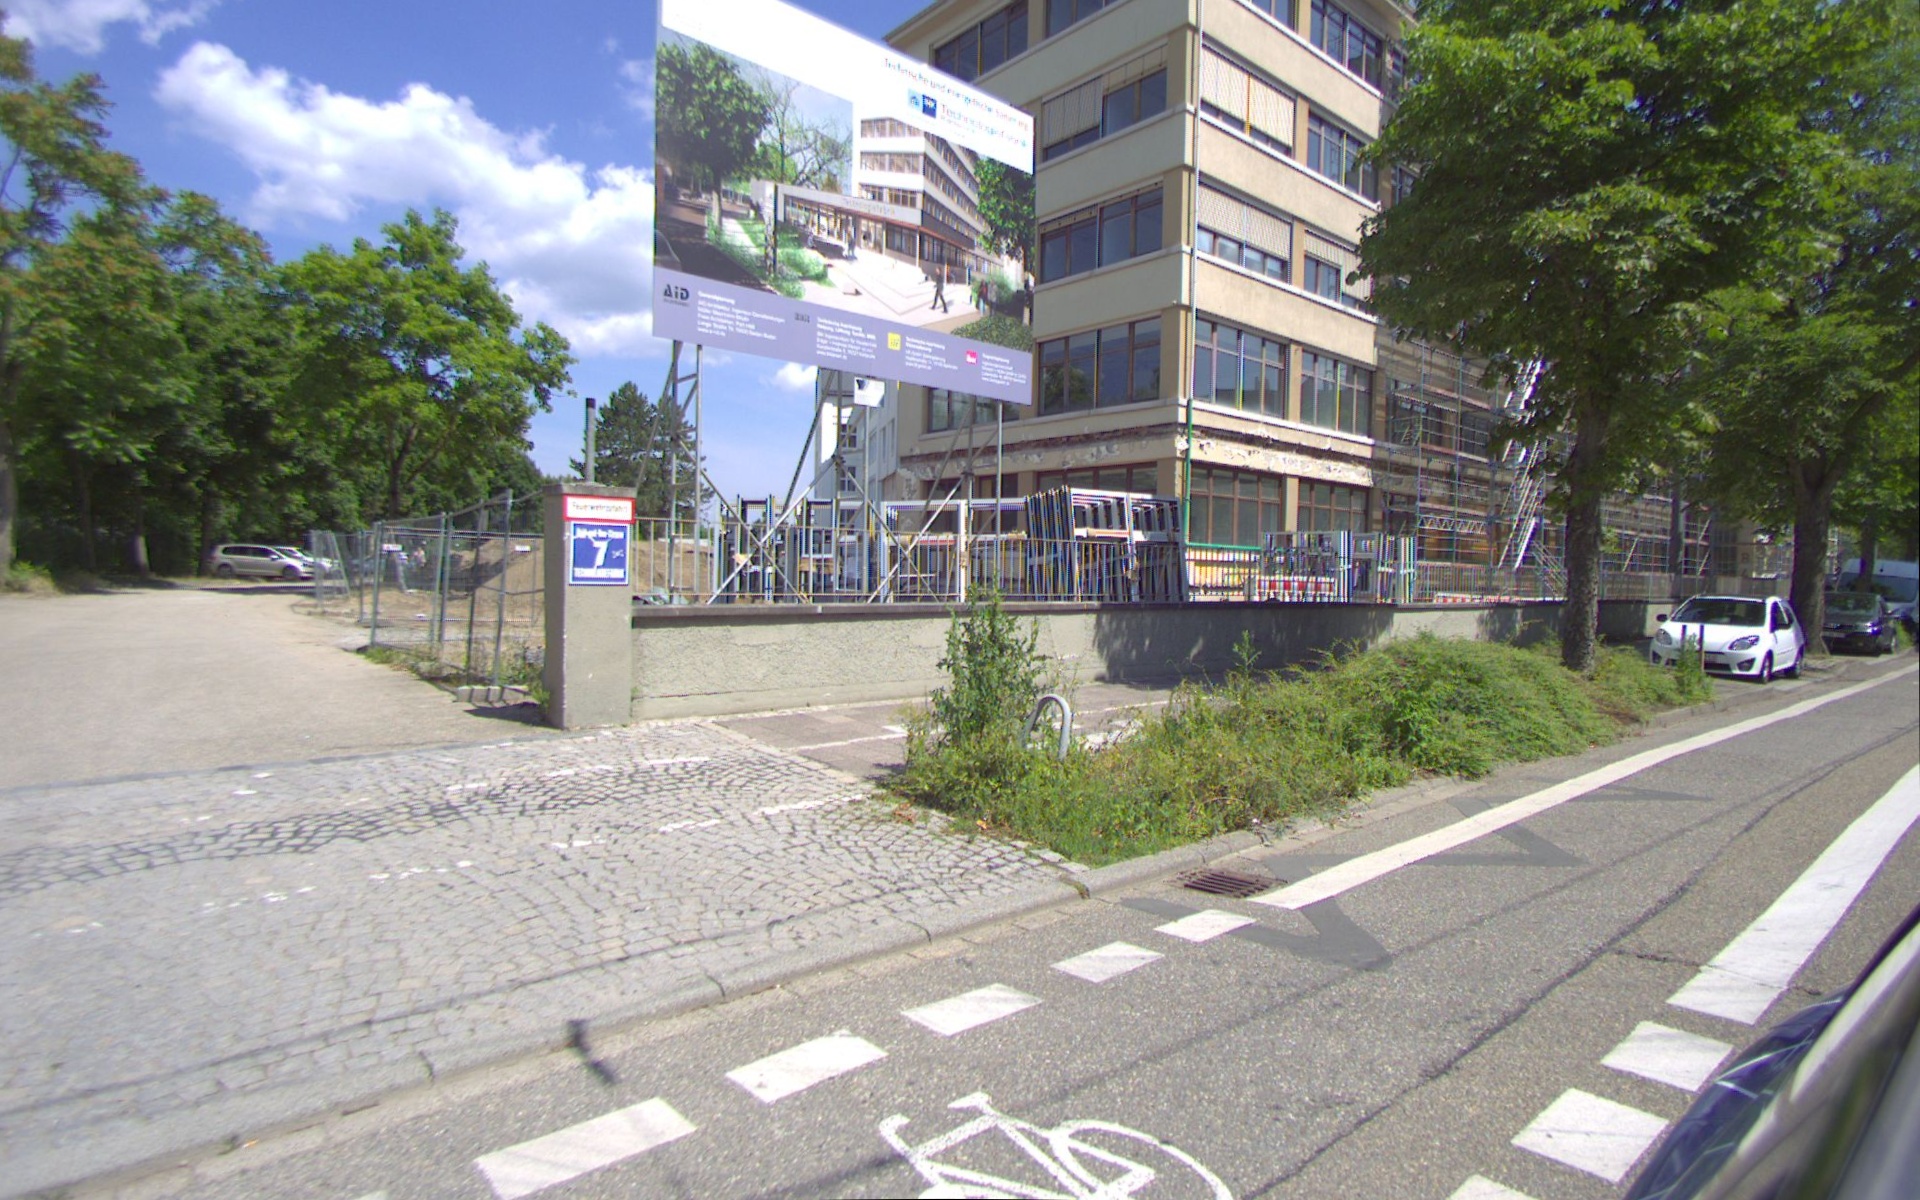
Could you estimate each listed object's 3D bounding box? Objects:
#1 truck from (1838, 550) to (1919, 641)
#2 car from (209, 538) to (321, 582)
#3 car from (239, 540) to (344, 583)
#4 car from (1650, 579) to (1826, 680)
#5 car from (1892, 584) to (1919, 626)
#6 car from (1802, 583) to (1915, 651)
[{"bbox_3d":[28.390,-0.158,30.576,5.853,2.519,2.018,0,2,-42],"label":"truck"},{"bbox_3d":[-33.034,-1.873,48.228,3.916,2.039,2.004,0,0,-14],"label":"car"},{"bbox_3d":[-33.326,-1.882,50.561,3.916,2.039,2.004,0,0,-14],"label":"car"},{"bbox_3d":[13.744,0.456,17.817,3.717,1.553,1.648,0,2,-40],"label":"car"},{"bbox_3d":[36.164,0.195,37.427,4.320,1.490,1.829,0,2,-39],"label":"car"},{"bbox_3d":[22.713,0.391,25.551,3.878,1.553,1.647,0,2,-42],"label":"car"}]
